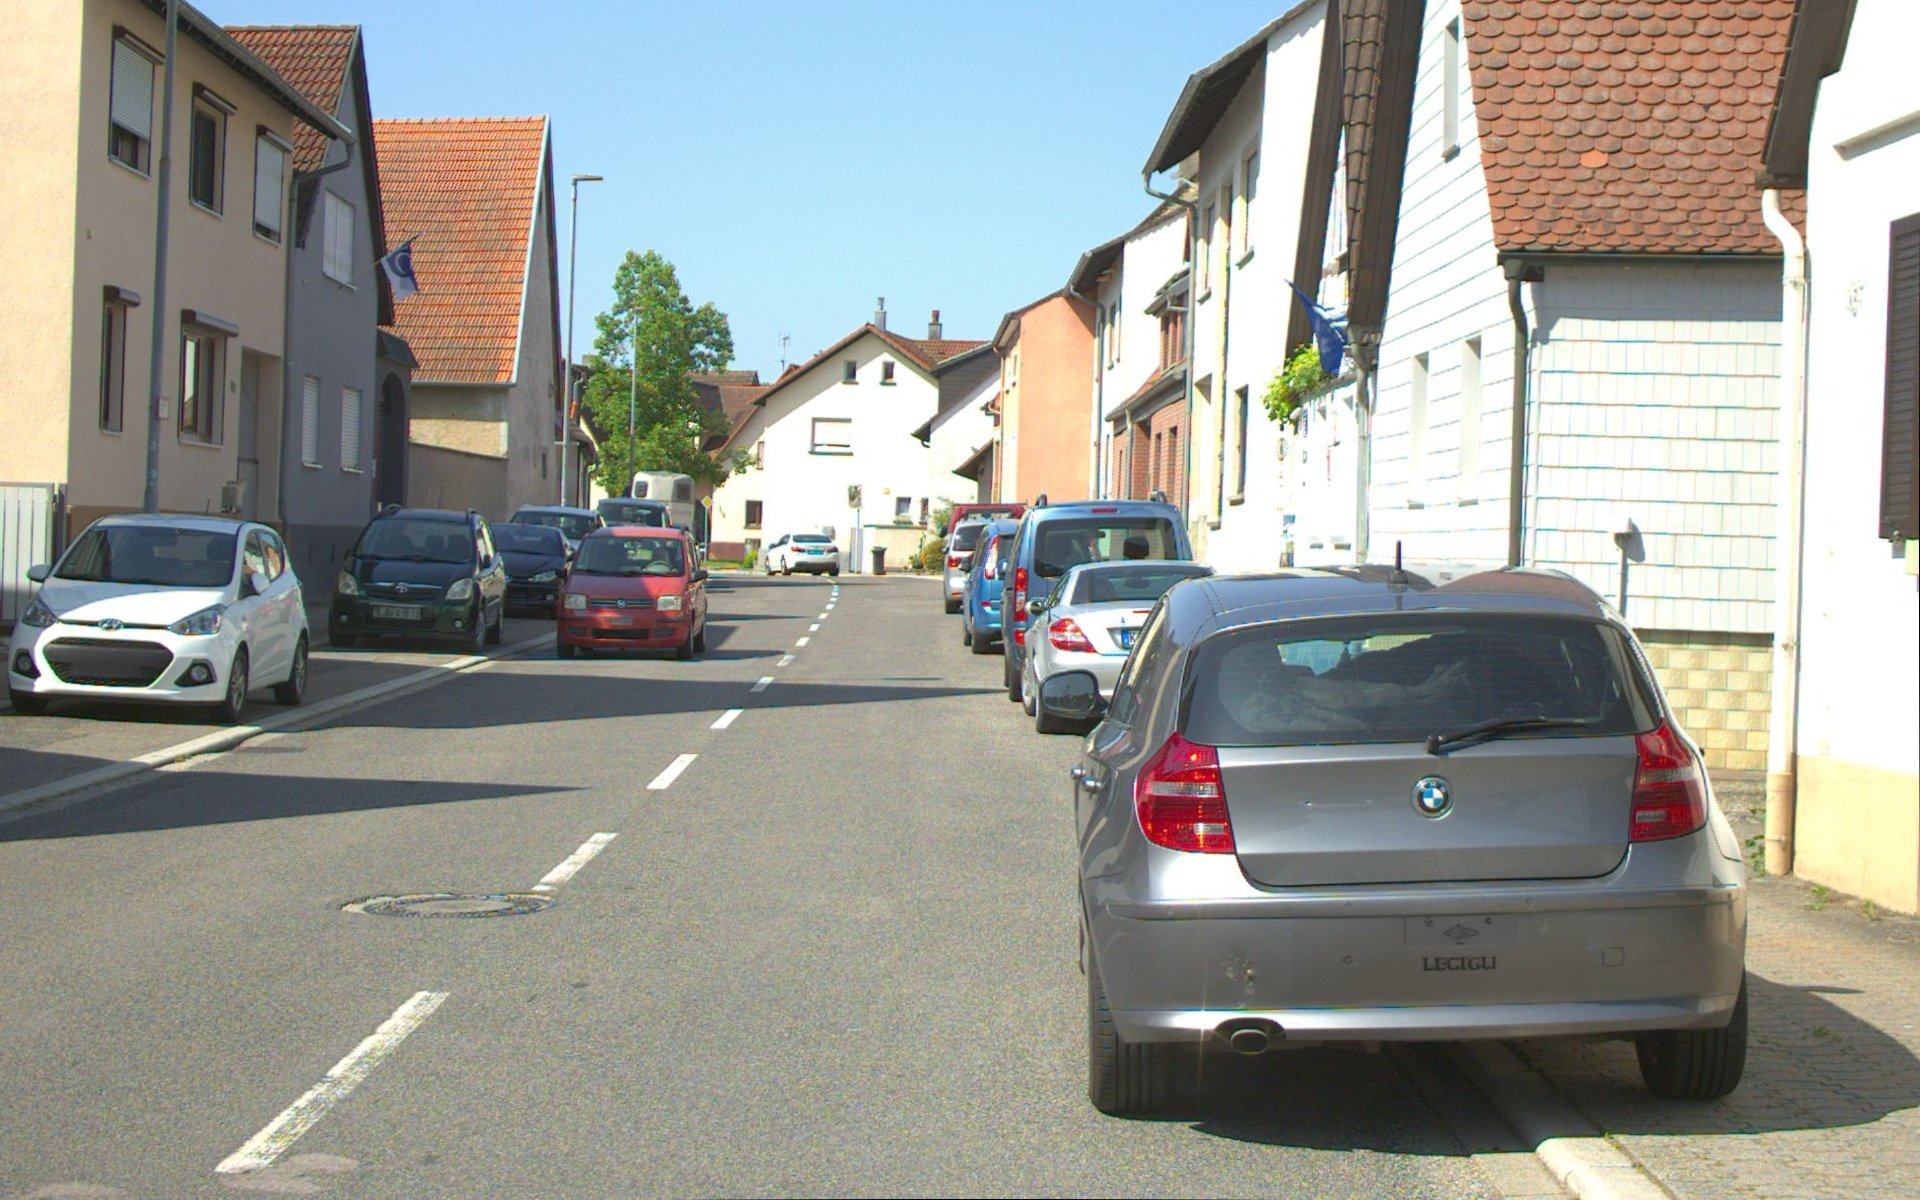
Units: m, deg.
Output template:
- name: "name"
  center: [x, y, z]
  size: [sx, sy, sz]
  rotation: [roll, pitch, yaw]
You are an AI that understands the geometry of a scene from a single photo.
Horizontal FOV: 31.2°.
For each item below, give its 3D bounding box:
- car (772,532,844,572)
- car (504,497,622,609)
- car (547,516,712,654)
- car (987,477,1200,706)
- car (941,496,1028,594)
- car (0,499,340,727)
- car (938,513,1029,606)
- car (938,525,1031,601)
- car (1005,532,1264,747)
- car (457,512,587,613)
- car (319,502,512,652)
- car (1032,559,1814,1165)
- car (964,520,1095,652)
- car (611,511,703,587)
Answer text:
- name: "car"
  center: [-5.069, -1.594, 114.336]
  size: [1.993, 1.284, 4.001]
  rotation: [1, 0, -8]
- name: "car"
  center: [-6.514, -0.775, 56.631]
  size: [1.527, 1.707, 3.626]
  rotation: [3, 1, -1]
- name: "car"
  center: [-3.852, -0.199, 40.543]
  size: [1.601, 1.484, 3.626]
  rotation: [3, 1, -1]
- name: "car"
  center: [1.174, -0.101, 31.636]
  size: [1.649, 1.903, 3.626]
  rotation: [3, 1, -1]
- name: "car"
  center: [0.510, -1.166, 73.478]
  size: [1.767, 1.997, 3.450]
  rotation: [1, 0, 0]
- name: "car"
  center: [-6.149, 0.056, 26.604]
  size: [1.806, 1.542, 4.404]
  rotation: [3, 1, 0]
- name: "car"
  center: [0.389, -0.716, 60.275]
  size: [1.420, 1.510, 3.304]
  rotation: [3, 1, -1]
- name: "car"
  center: [0.472, -0.730, 68.069]
  size: [1.767, 1.428, 3.450]
  rotation: [1, 0, 0]
- name: "car"
  center: [1.297, 0.262, 26.840]
  size: [1.704, 1.491, 3.453]
  rotation: [3, 1, -1]
- name: "car"
  center: [-6.579, -0.564, 51.943]
  size: [1.504, 1.448, 3.509]
  rotation: [1, 0, 0]
- name: "car"
  center: [-6.250, -0.287, 39.817]
  size: [1.619, 1.572, 3.962]
  rotation: [3, 1, -1]
- name: "car"
  center: [1.150, 0.601, 10.161]
  size: [1.704, 1.428, 3.890]
  rotation: [0, 1, -1]
- name: "car"
  center: [0.831, -0.197, 42.714]
  size: [1.420, 1.510, 3.304]
  rotation: [3, 1, -1]
- name: "car"
  center: [-6.764, -1.127, 77.027]
  size: [1.754, 1.619, 4.000]
  rotation: [1, 0, -1]
